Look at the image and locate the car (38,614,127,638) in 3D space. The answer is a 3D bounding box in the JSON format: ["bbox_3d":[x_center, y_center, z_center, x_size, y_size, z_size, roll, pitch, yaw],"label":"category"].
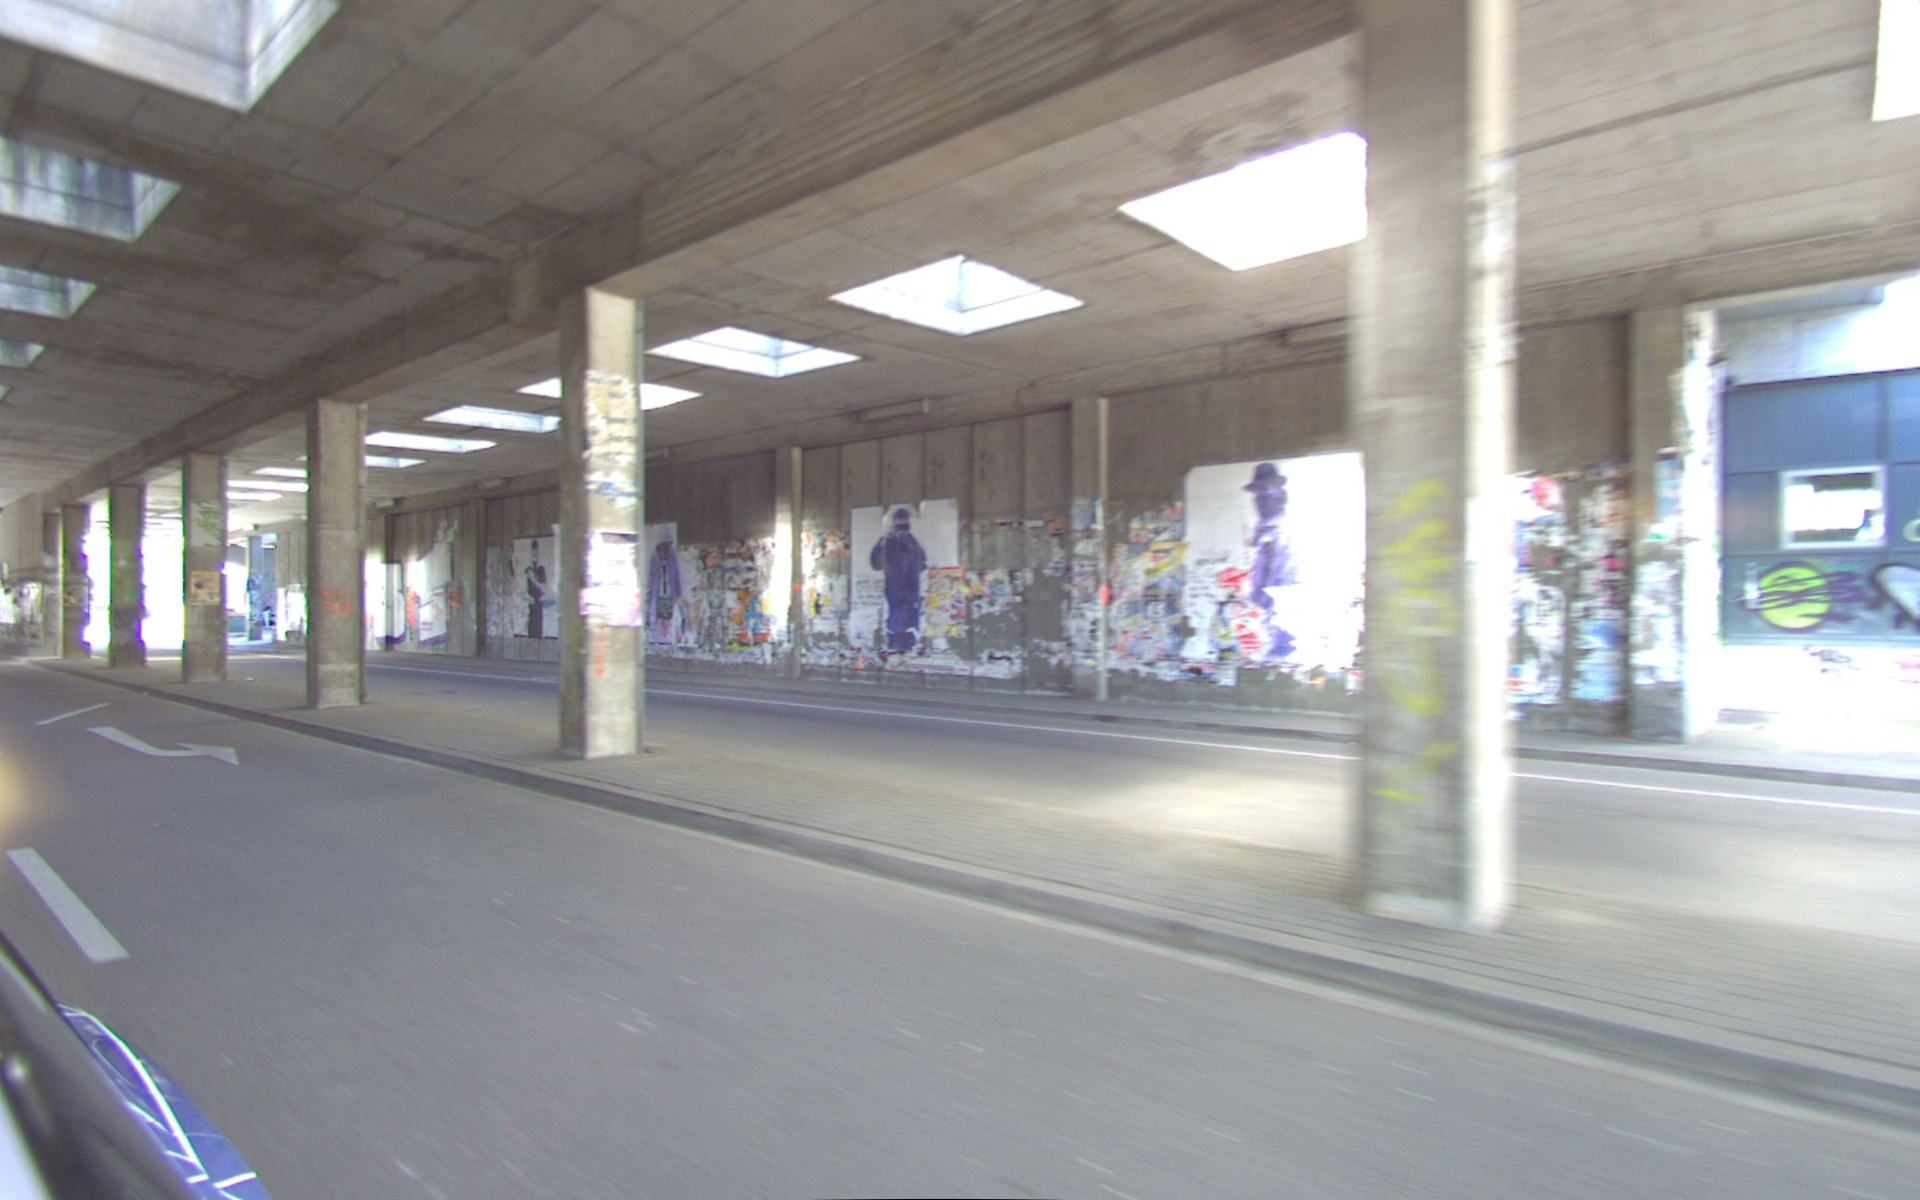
[{"bbox_3d":[-55.384,1.611,63.907,1.831,1.405,3.950,0,0,37],"label":"car"}]
